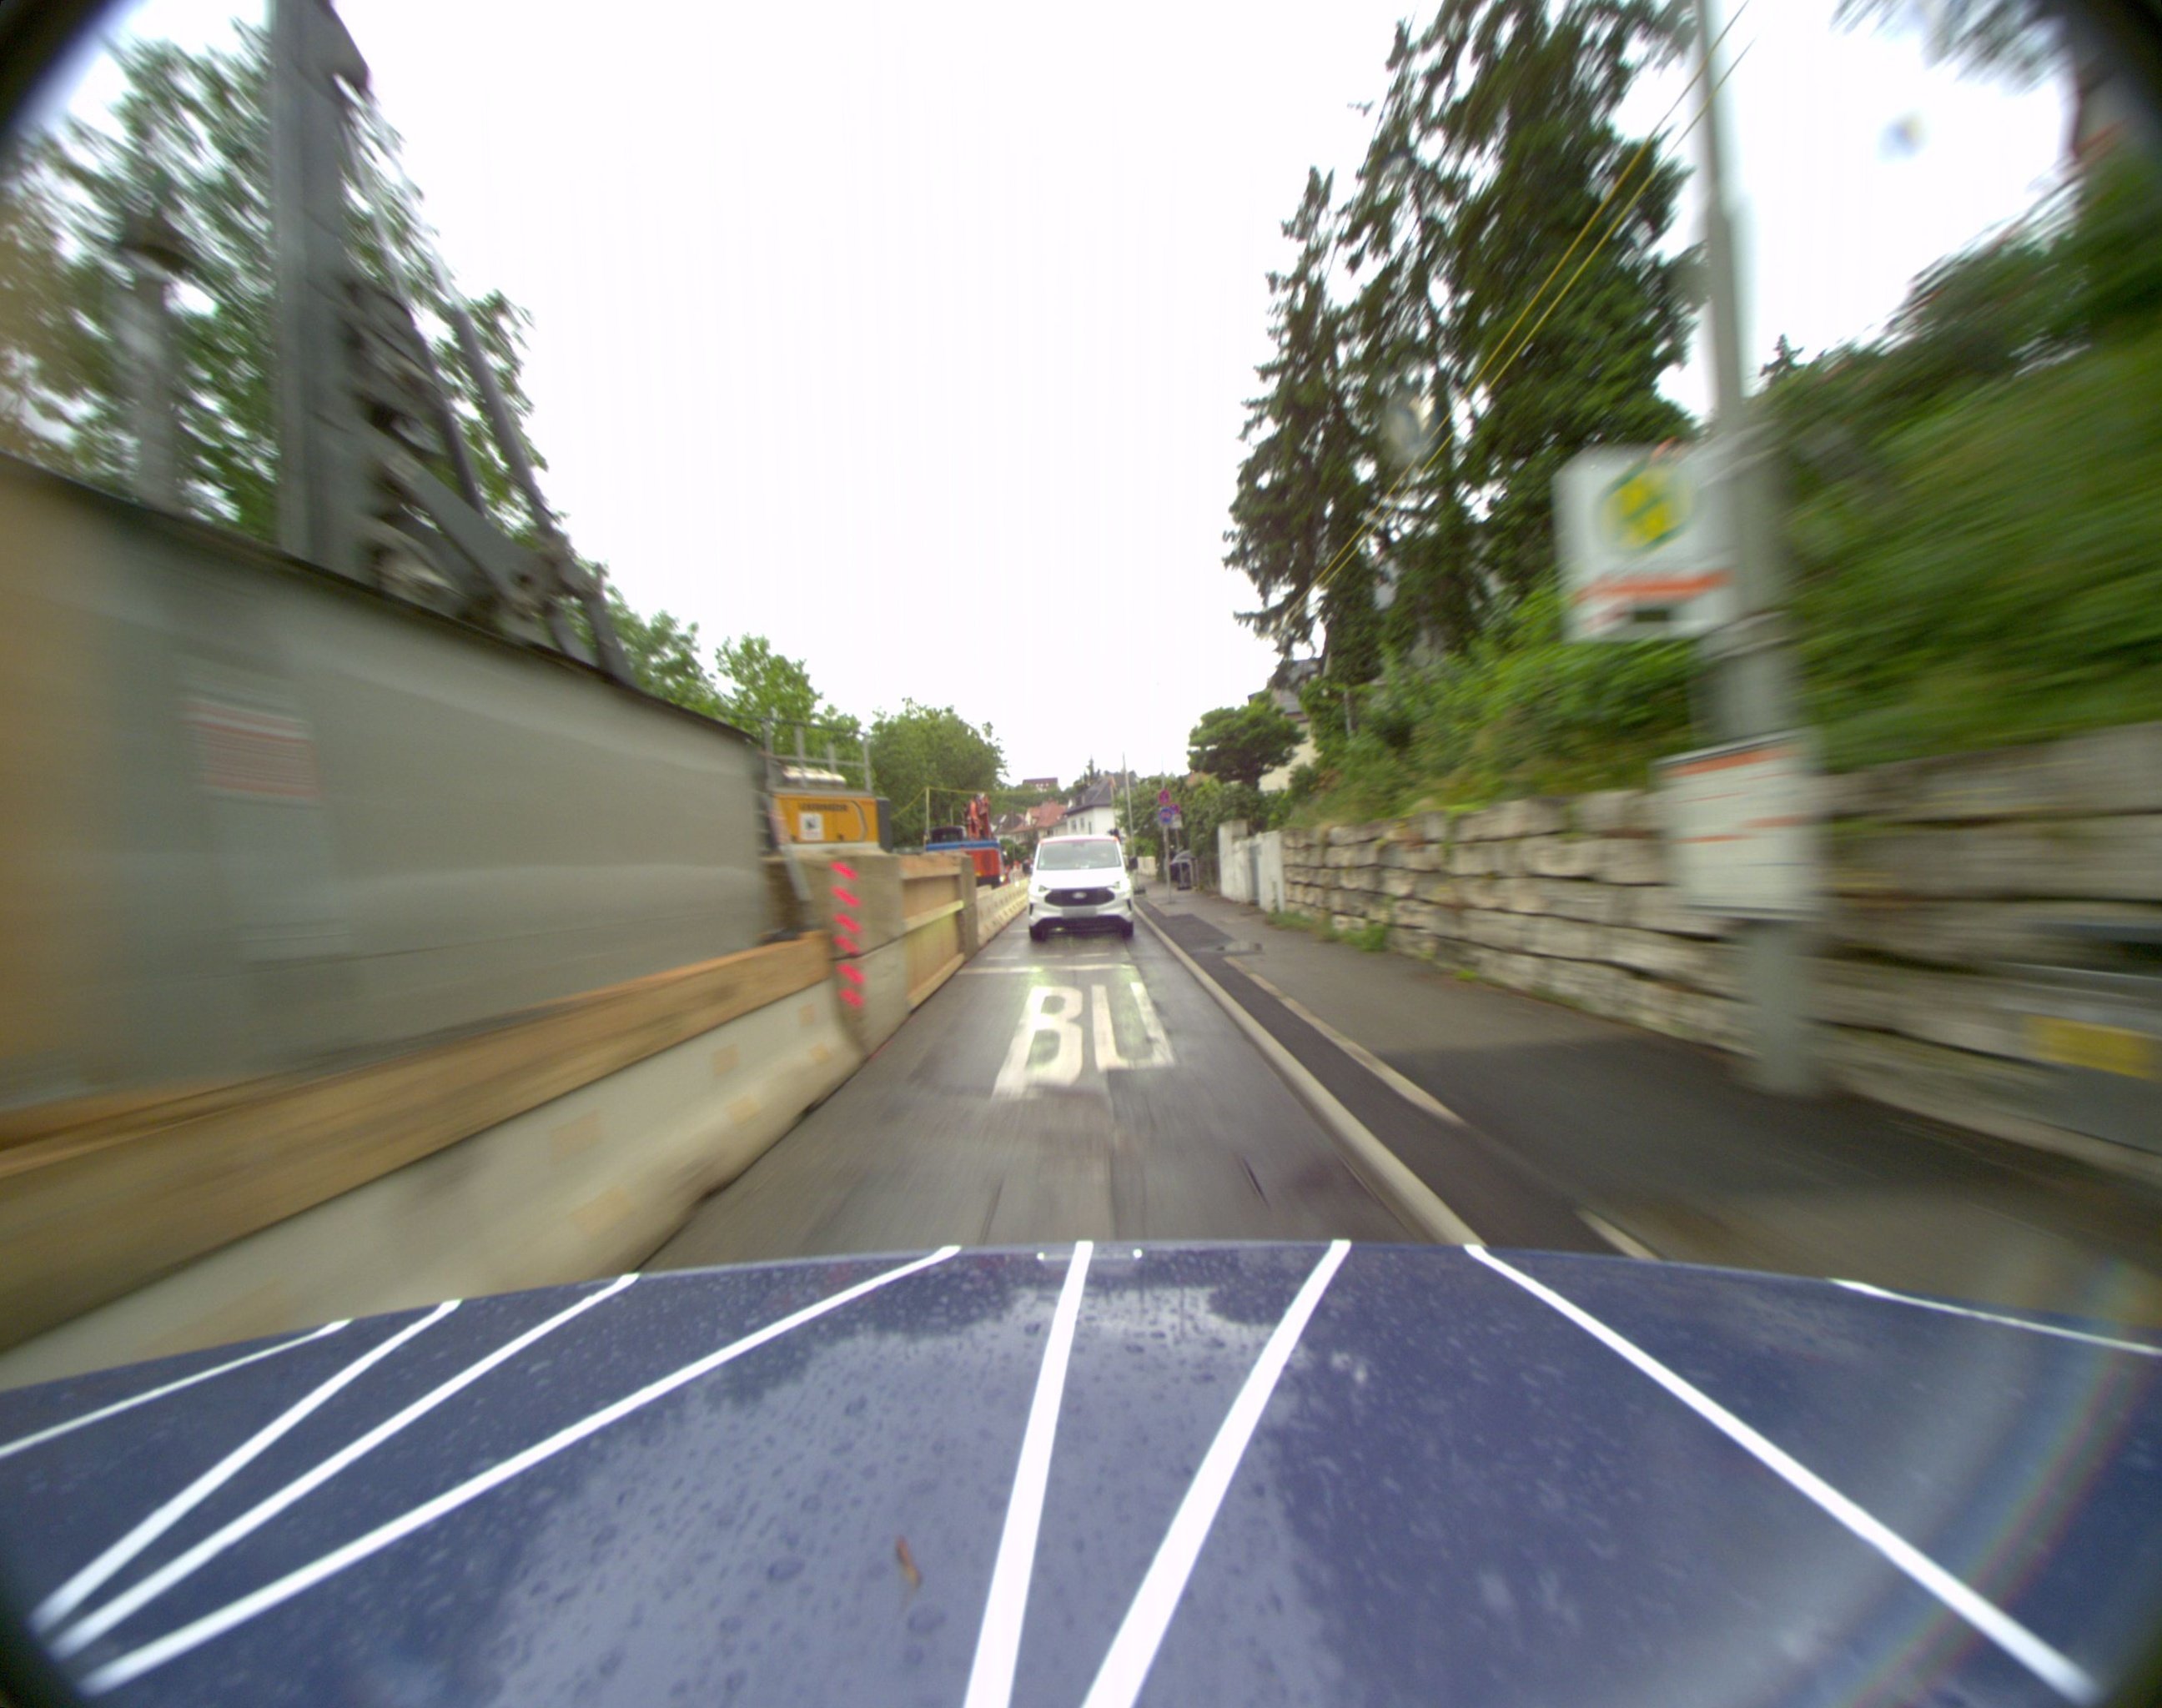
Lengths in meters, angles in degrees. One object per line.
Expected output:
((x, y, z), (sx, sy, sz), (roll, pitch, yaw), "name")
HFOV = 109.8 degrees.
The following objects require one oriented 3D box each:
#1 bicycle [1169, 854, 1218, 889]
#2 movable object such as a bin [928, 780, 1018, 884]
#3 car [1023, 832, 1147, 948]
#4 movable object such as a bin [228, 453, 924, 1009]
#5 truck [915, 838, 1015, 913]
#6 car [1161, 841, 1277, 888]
((4.077, 0.624, 27.484), (1.621, 1.124, 0.443), (-4, 2, 14), "bicycle")
((-4.644, -0.888, 33.490), (2.885, 4.146, 4.488), (-3, 0, 3), "movable object such as a bin")
((-0.101, 0.606, 16.033), (2.046, 1.883, 5.206), (-5, 1, -4), "car")
((-6.193, -1.167, 10.930), (3.685, 5.037, 7.174), (-2, 1, 29), "movable object such as a bin")
((-3.592, 0.604, 24.178), (2.557, 2.096, 3.303), (-3, 1, 0), "truck")
((5.216, 0.422, 29.009), (1.789, 1.517, 3.990), (-6, 1, -42), "car")
